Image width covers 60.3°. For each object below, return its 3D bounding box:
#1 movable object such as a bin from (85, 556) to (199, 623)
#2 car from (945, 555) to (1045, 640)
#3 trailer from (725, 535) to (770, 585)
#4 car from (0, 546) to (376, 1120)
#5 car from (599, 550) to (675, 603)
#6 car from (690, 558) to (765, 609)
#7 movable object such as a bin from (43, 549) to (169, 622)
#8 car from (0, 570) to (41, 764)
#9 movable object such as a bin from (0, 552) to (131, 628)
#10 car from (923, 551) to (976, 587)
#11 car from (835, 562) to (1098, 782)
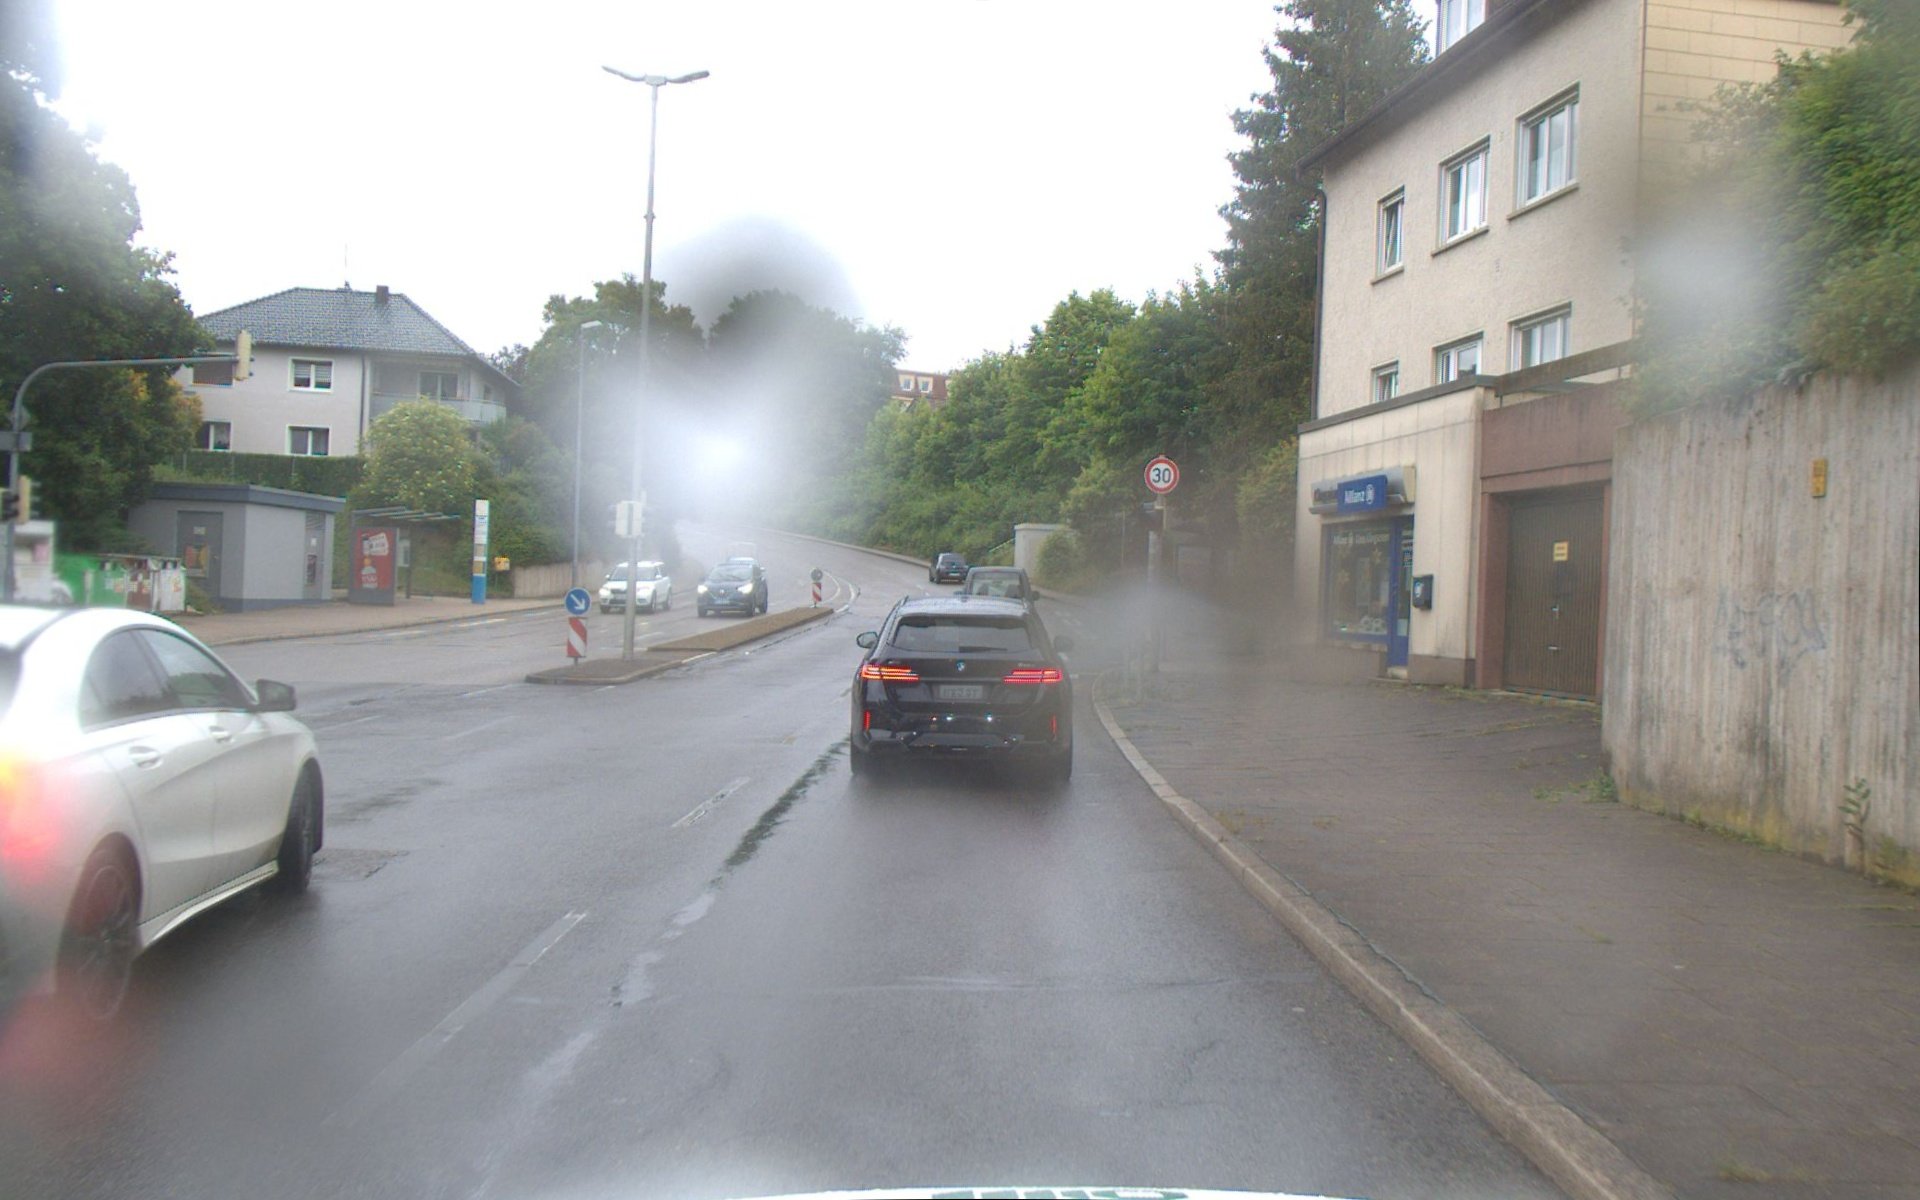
[{"bbox_3d":[-19.400,-0.272,39.291,2.014,1.541,1.345,1,2,4],"label":"movable object such as a bin"},{"bbox_3d":[0.740,-0.099,37.615,1.954,1.779,3.998,0,2,-3],"label":"car"},{"bbox_3d":[-9.585,-1.779,74.866,1.859,2.217,4.031,1,0,-6],"label":"trailer"},{"bbox_3d":[-3.799,0.633,6.639,1.873,1.555,4.642,1,-1,-9],"label":"car"},{"bbox_3d":[-10.743,-0.750,55.249,1.787,1.686,4.465,0,0,-2],"label":"car"},{"bbox_3d":[-7.439,-0.522,53.211,1.803,1.579,4.383,0,0,0],"label":"car"},{"bbox_3d":[-19.505,-0.349,37.816,2.014,1.596,1.582,1,2,4],"label":"movable object such as a bin"},{"bbox_3d":[-8.709,0.533,12.396,1.957,1.601,3.990,0,-1,-10],"label":"car"},{"bbox_3d":[-19.593,-0.240,36.221,2.014,1.596,1.582,1,2,4],"label":"movable object such as a bin"},{"bbox_3d":[-0.530,-1.542,81.976,1.819,1.691,3.988,2,1,-12],"label":"car"},{"bbox_3d":[-0.046,0.610,14.893,1.954,1.614,4.660,2,-2,-3],"label":"car"}]
